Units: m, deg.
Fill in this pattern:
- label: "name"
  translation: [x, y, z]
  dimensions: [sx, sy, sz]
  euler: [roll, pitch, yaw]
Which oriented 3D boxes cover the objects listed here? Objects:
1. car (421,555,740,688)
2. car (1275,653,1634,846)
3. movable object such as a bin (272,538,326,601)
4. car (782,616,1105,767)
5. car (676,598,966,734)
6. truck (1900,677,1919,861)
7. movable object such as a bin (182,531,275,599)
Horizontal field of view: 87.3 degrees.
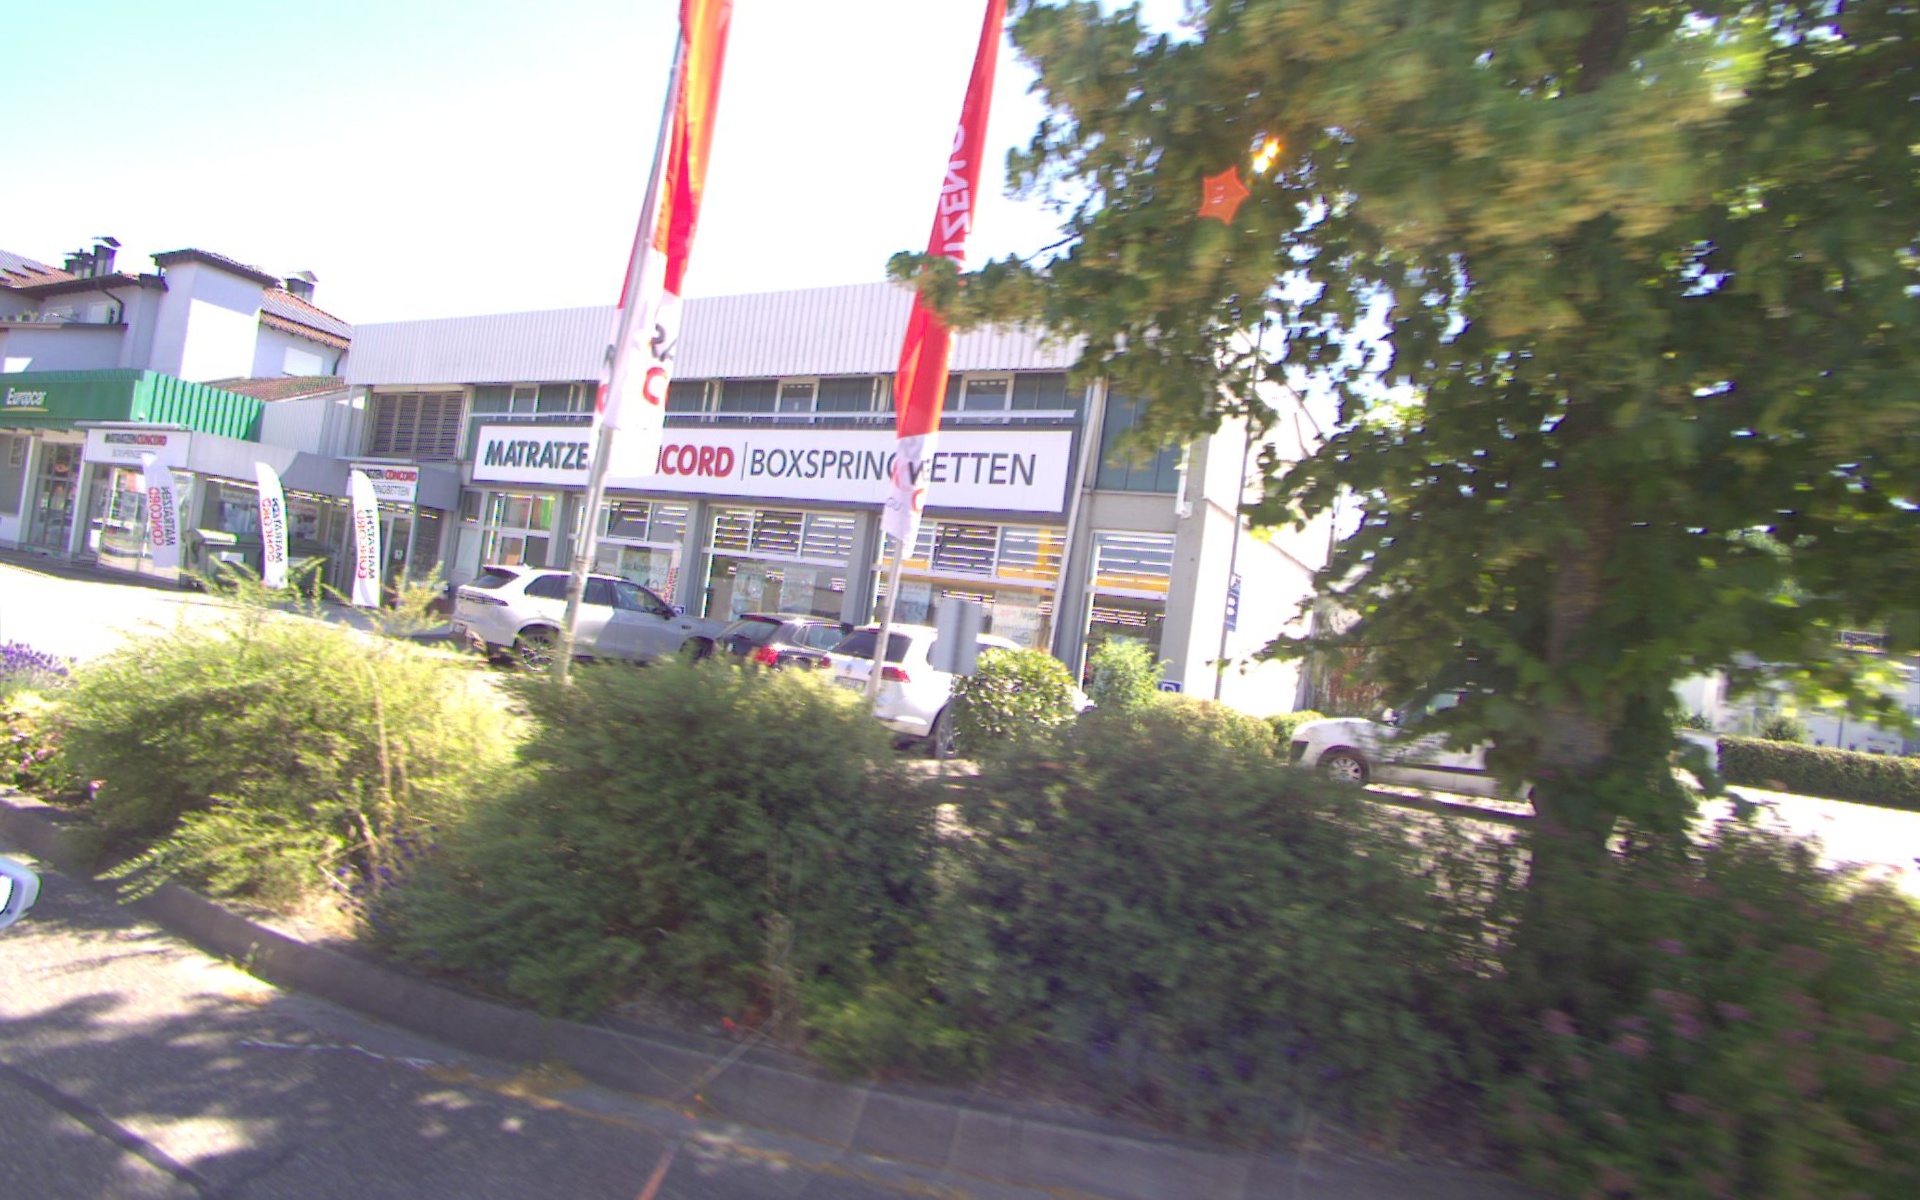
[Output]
- label: "car"
  translation: [-6.329, 0.421, 17.150]
  dimensions: [4.570, 1.661, 1.975]
  euler: [9, -2, -44]
- label: "car"
  translation: [6.923, 2.014, 14.403]
  dimensions: [4.183, 1.912, 1.710]
  euler: [6, -2, 28]
- label: "movable object such as a bin"
  translation: [-16.521, -0.754, 25.155]
  dimensions: [0.691, 1.463, 0.853]
  euler: [7, 1, 34]
- label: "car"
  translation: [-0.071, 1.208, 12.871]
  dimensions: [1.781, 1.477, 3.982]
  euler: [6, -2, 43]
- label: "car"
  translation: [-1.919, 1.013, 14.655]
  dimensions: [1.657, 1.551, 3.846]
  euler: [6, -2, 45]
- label: "truck"
  translation: [15.330, 2.516, 13.749]
  dimensions: [2.384, 2.981, 5.945]
  euler: [6, -3, 33]
- label: "movable object such as a bin"
  translation: [-17.355, -0.810, 23.904]
  dimensions: [0.691, 1.441, 1.563]
  euler: [7, 1, 34]
